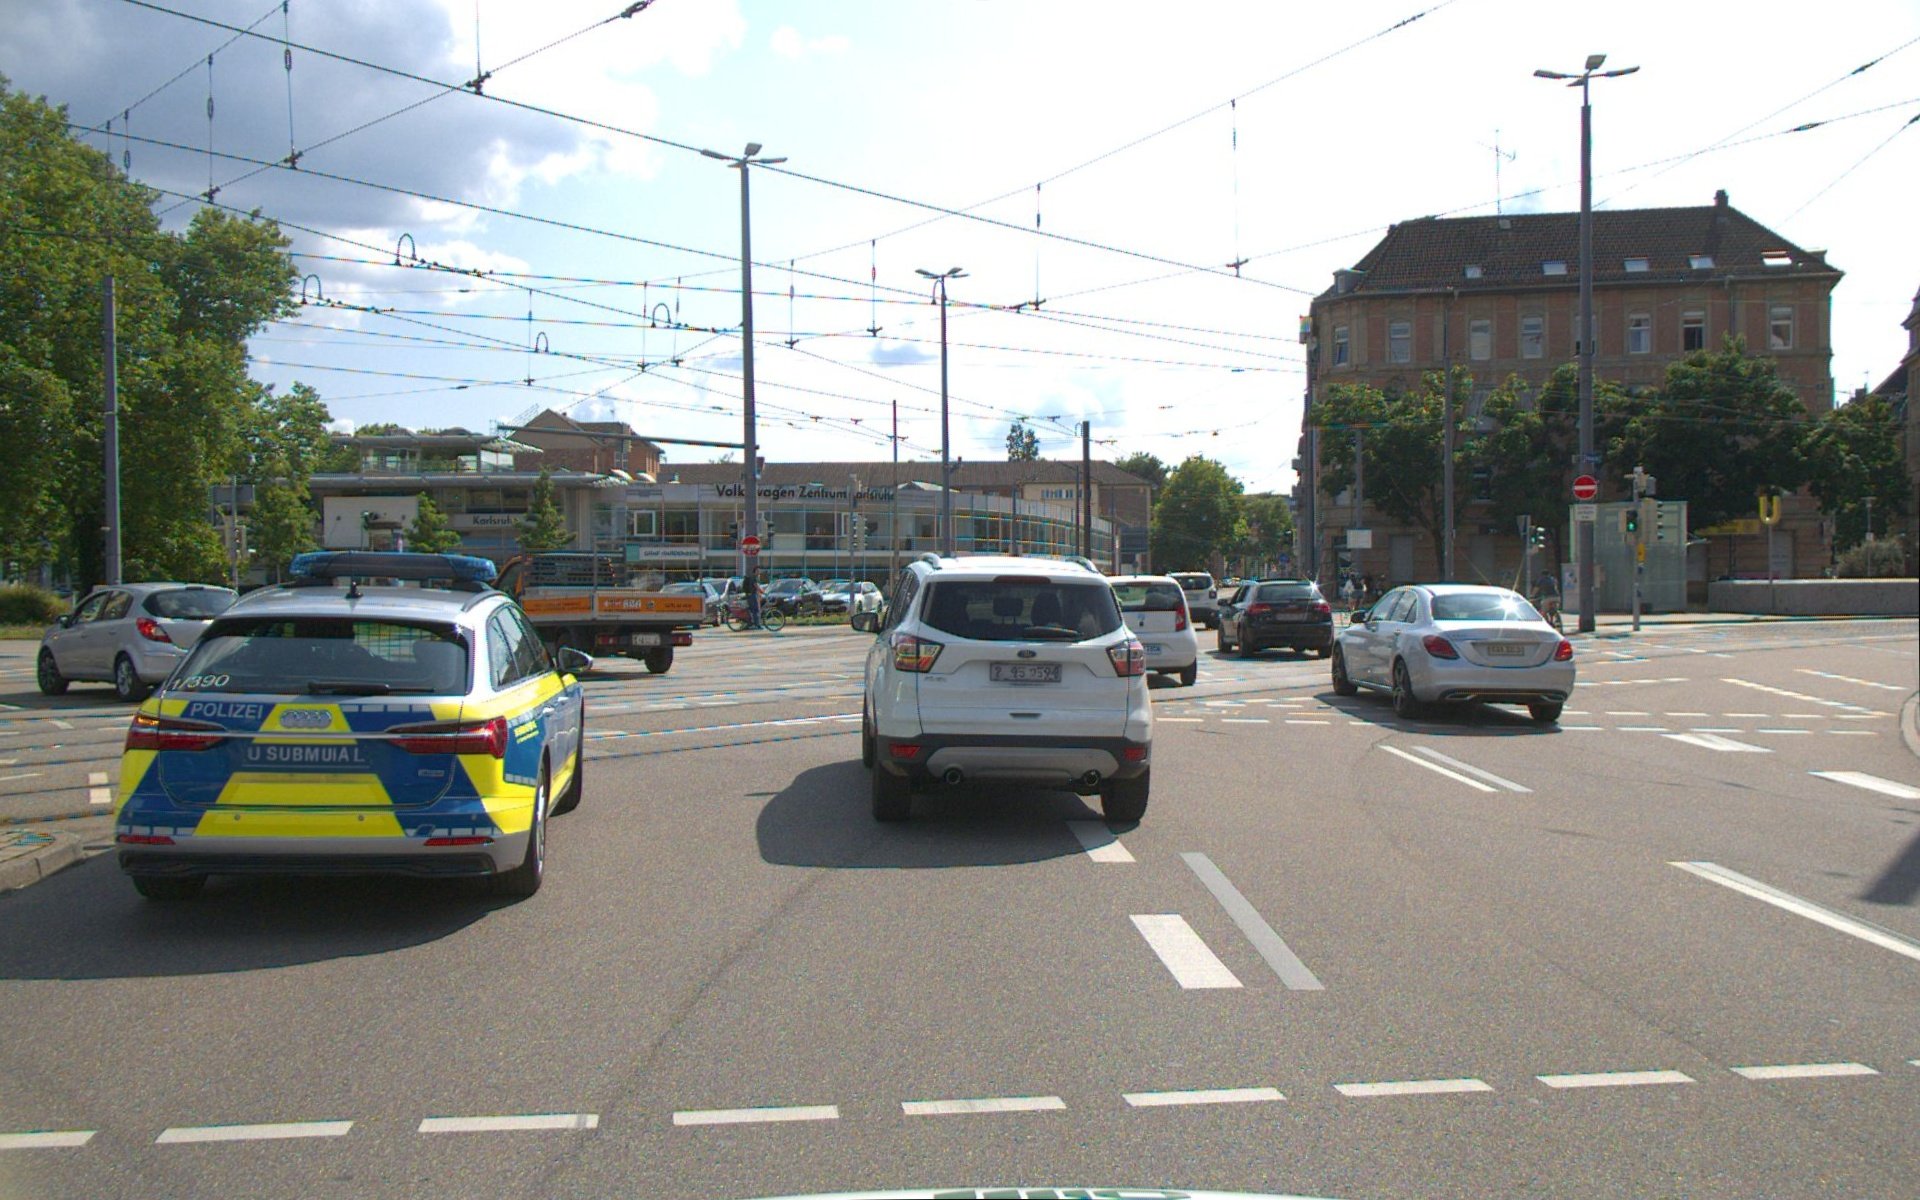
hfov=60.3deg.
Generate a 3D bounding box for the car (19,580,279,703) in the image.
[{"bbox_3d":[-10.975,0.501,22.283,3.929,1.500,1.843,0,1,42],"label":"car"}]

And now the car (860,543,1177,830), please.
[{"bbox_3d":[0.238,0.485,11.823,1.791,1.693,3.952,1,1,-5],"label":"car"}]

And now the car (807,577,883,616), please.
[{"bbox_3d":[-4.577,-0.172,66.520,1.859,1.487,3.972,-2,0,15],"label":"car"}]

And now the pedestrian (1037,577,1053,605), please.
[{"bbox_3d":[6.112,-0.663,118.915,0.858,1.956,0.875,1,-1,25],"label":"pedestrian"}]

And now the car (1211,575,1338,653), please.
[{"bbox_3d":[5.973,0.234,31.831,1.664,1.396,4.133,-1,1,0],"label":"car"}]

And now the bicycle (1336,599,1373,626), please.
[{"bbox_3d":[11.768,0.372,49.361,0.573,0.789,1.619,-1,0,-6],"label":"bicycle"}]

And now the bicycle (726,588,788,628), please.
[{"bbox_3d":[-5.877,0.240,47.928,1.742,1.145,0.640,0,1,0],"label":"bicycle"}]

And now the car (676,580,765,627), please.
[{"bbox_3d":[-8.662,0.098,60.118,1.700,1.600,4.003,-1,1,15],"label":"car"}]

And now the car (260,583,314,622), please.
[{"bbox_3d":[-37.500,0.172,92.180,1.958,2.049,4.219,-2,0,-11],"label":"car"}]

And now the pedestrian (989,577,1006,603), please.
[{"bbox_3d":[2.588,-0.661,113.400,0.858,1.767,0.875,1,-1,28],"label":"pedestrian"}]

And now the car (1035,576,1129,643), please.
[{"bbox_3d":[2.724,0.199,37.639,1.812,1.443,3.678,0,0,-1],"label":"car"}]

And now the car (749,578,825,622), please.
[{"bbox_3d":[-6.199,-0.022,59.813,1.653,1.487,3.972,-2,1,10],"label":"car"}]

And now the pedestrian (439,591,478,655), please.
[{"bbox_3d":[-14.243,0.654,46.993,0.914,1.774,0.583,1,-1,-32],"label":"pedestrian"}]

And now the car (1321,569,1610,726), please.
[{"bbox_3d":[5.760,0.449,19.522,1.891,1.480,4.759,-1,2,-1],"label":"car"}]

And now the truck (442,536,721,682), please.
[{"bbox_3d":[-6.493,0.130,27.797,2.323,2.193,5.770,-1,0,-38],"label":"truck"}]

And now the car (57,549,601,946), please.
[{"bbox_3d":[-3.065,0.573,9.079,1.845,1.595,4.606,0,0,-9],"label":"car"}]

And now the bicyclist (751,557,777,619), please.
[{"bbox_3d":[-5.679,-0.347,47.943,0.646,1.768,0.640,0,1,0],"label":"bicyclist"}]

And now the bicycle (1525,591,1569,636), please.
[{"bbox_3d":[13.556,0.305,38.245,0.829,0.987,1.962,-1,1,16],"label":"bicycle"}]

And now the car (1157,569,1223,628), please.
[{"bbox_3d":[6.766,-0.035,48.870,1.797,1.681,4.003,0,0,6],"label":"car"}]

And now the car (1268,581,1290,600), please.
[{"bbox_3d":[28.238,-0.851,146.413,1.797,1.681,4.003,0,0,12],"label":"car"}]

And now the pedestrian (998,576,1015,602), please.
[{"bbox_3d":[3.186,-0.762,112.564,0.858,1.767,0.875,1,-1,28],"label":"pedestrian"}]

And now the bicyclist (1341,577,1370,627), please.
[{"bbox_3d":[11.792,0.064,49.327,0.596,1.476,0.773,-1,0,-6],"label":"bicyclist"}]

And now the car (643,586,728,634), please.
[{"bbox_3d":[-8.647,0.288,52.434,1.700,1.397,3.644,-1,1,6],"label":"car"}]

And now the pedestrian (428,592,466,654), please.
[{"bbox_3d":[-14.743,0.666,47.520,0.914,1.774,0.583,1,-1,-32],"label":"pedestrian"}]

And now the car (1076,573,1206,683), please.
[{"bbox_3d":[2.568,0.343,24.155,1.615,1.446,4.002,-1,1,3],"label":"car"}]

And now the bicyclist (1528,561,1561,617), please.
[{"bbox_3d":[13.581,-0.268,38.422,0.621,1.241,0.925,-2,2,16],"label":"bicyclist"}]

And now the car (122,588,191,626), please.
[{"bbox_3d":[-44.751,0.398,92.241,1.931,1.971,5.059,-2,0,-8],"label":"car"}]
